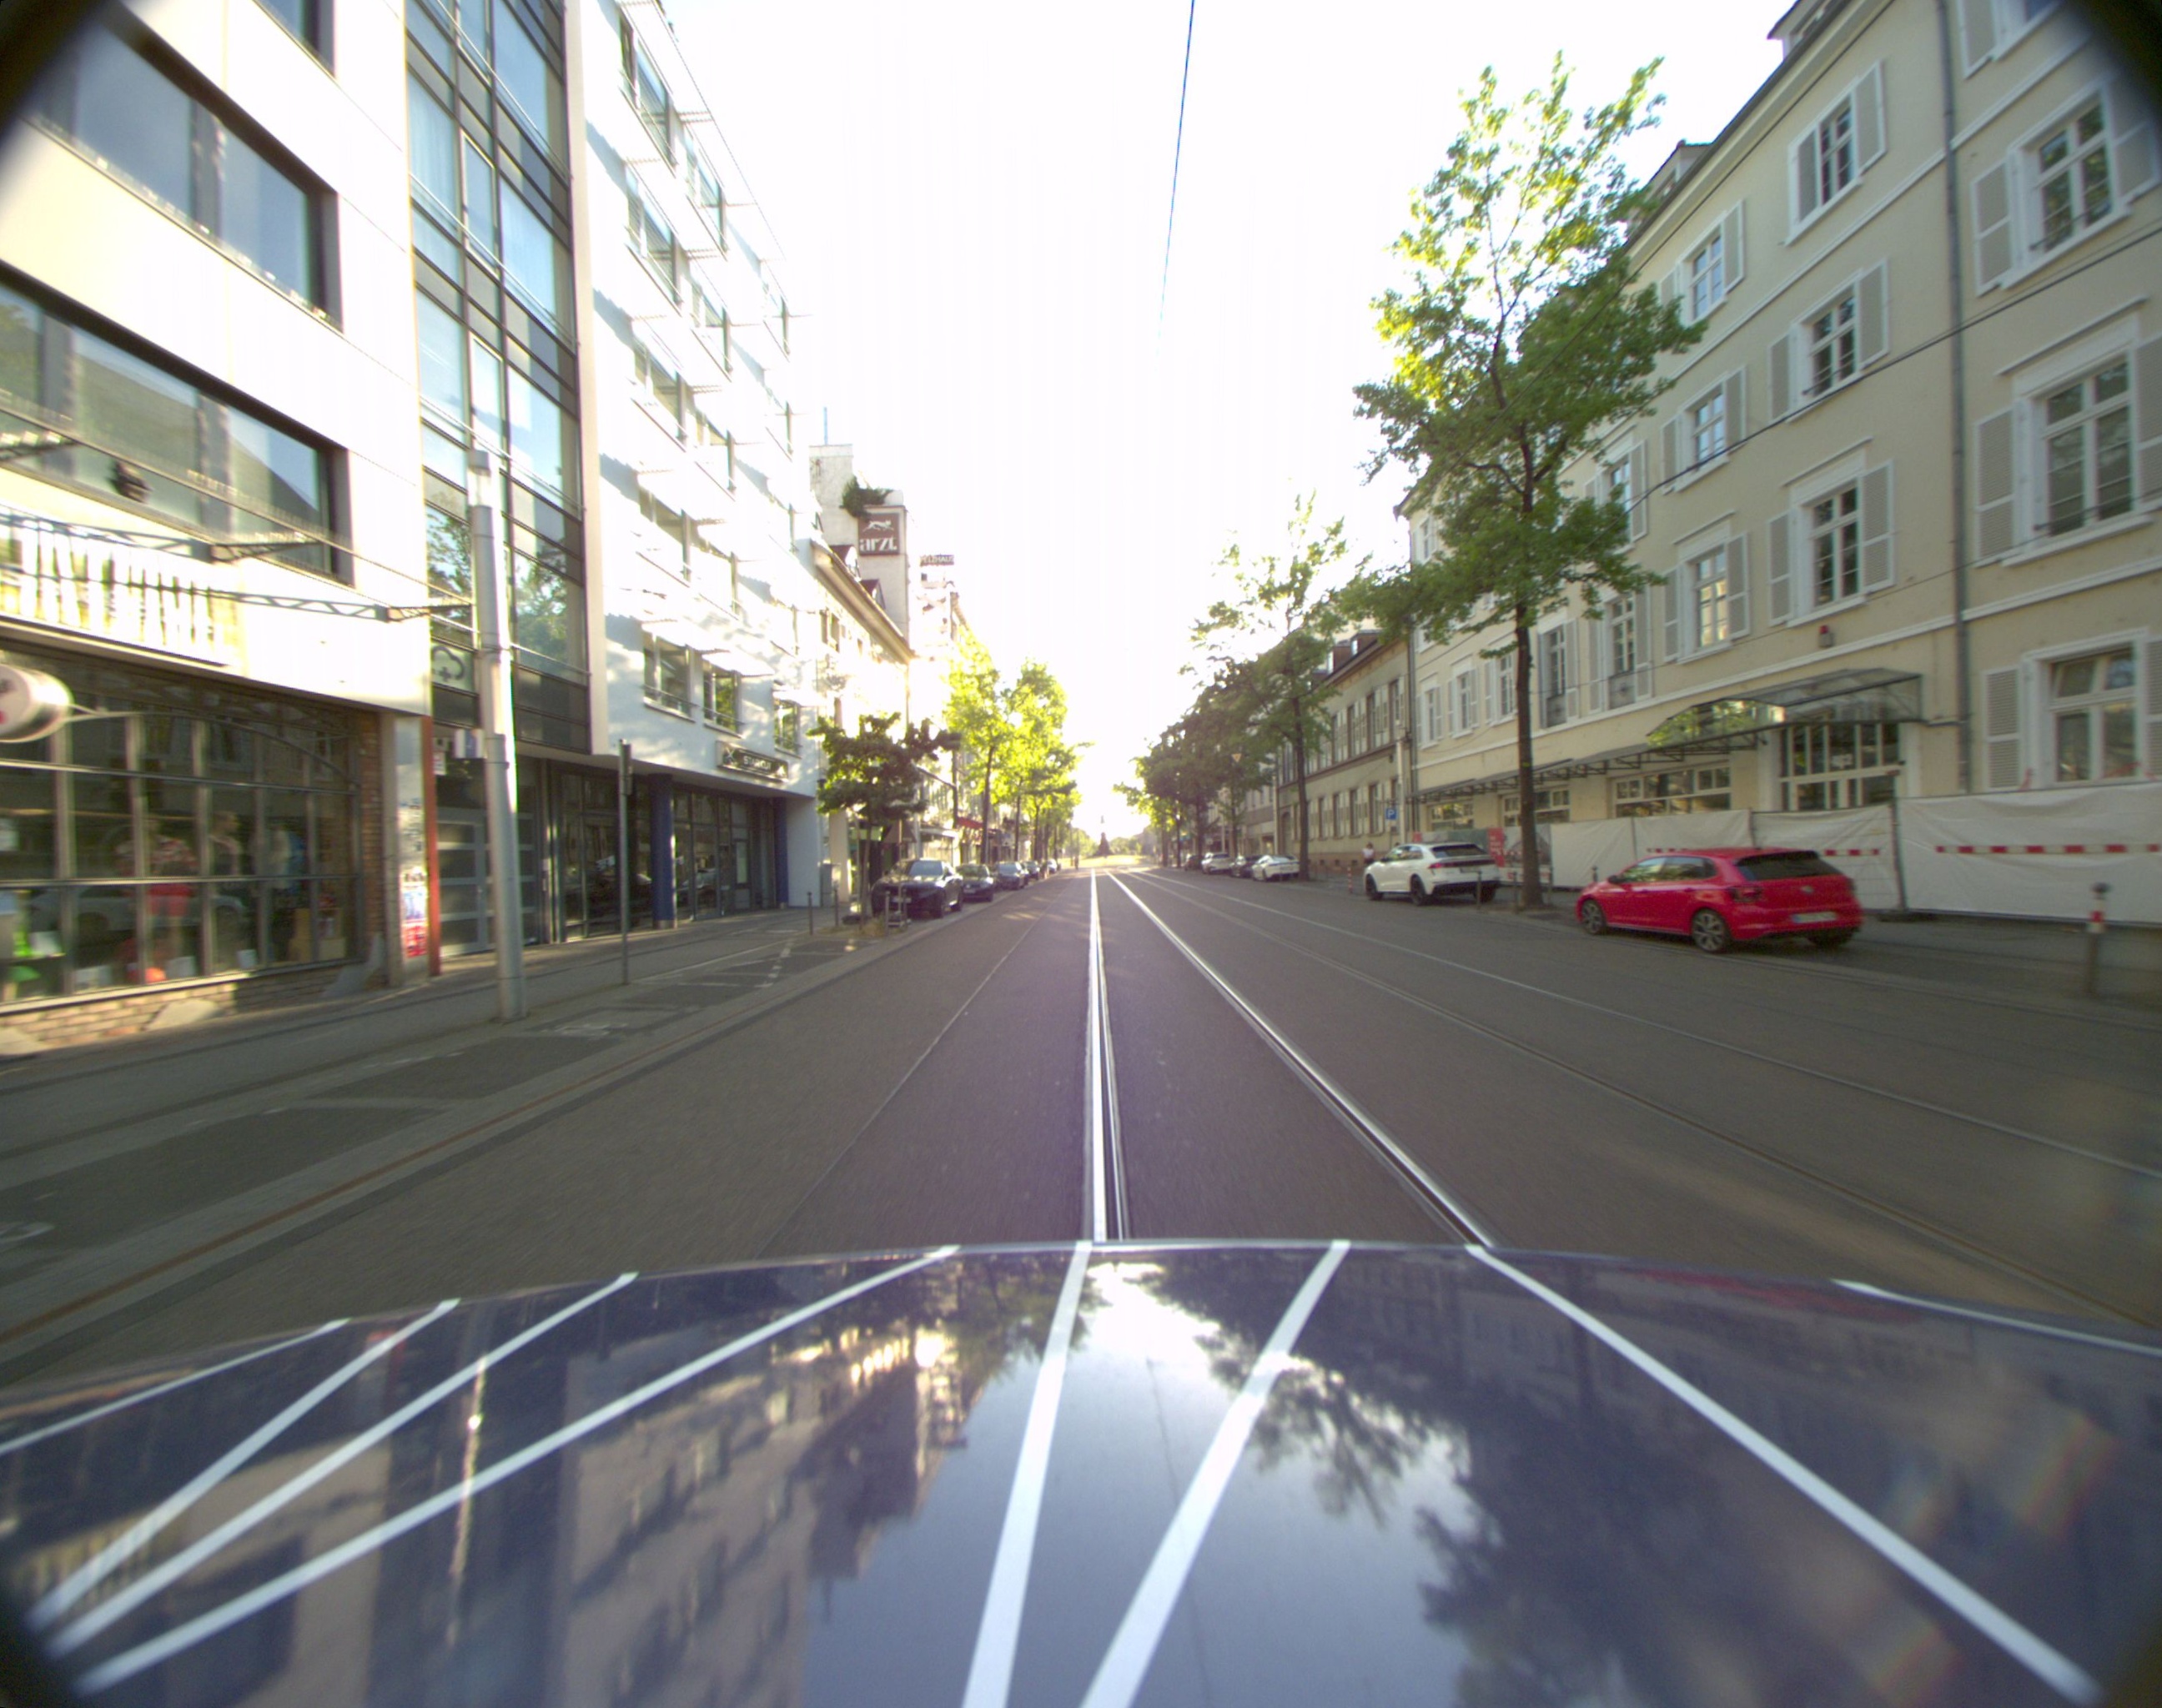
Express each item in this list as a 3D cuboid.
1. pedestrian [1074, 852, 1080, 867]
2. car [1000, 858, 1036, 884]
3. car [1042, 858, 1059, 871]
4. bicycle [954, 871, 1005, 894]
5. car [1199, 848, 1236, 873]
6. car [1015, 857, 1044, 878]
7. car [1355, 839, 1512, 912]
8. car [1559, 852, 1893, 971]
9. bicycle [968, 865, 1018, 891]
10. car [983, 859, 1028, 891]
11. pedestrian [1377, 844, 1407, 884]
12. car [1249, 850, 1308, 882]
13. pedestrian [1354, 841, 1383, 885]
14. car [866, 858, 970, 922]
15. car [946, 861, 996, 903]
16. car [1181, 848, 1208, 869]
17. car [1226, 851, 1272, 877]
[{"bbox_3d":[-0.464,0.721,99.200,0.705,1.858,0.792,-2,1,-1],"label":"pedestrian"},{"bbox_3d":[-4.032,1.064,49.040,1.869,1.502,4.287,1,0,1],"label":"car"},{"bbox_3d":[-3.311,1.100,81.906,1.564,1.391,3.698,1,0,1],"label":"car"},{"bbox_3d":[-4.742,1.342,35.509,2.249,0.982,0.615,-2,0,2],"label":"bicycle"},{"bbox_3d":[10.609,0.491,59.219,1.952,1.731,4.766,-4,0,1],"label":"car"},{"bbox_3d":[-3.894,1.015,57.706,1.798,1.502,3.986,1,0,1],"label":"car"},{"bbox_3d":[9.726,0.546,21.487,1.870,1.679,4.950,-4,0,-2],"label":"car"},{"bbox_3d":[9.527,0.728,11.760,1.664,1.397,4.141,-4,0,2],"label":"car"},{"bbox_3d":[-4.312,1.195,37.284,2.325,1.181,0.751,-2,0,2],"label":"bicycle"},{"bbox_3d":[-3.955,1.064,40.493,1.770,1.502,4.287,-2,0,2],"label":"car"},{"bbox_3d":[12.870,0.420,31.446,0.746,1.571,0.933,-4,0,1],"label":"pedestrian"},{"bbox_3d":[10.269,0.593,39.859,1.897,1.458,4.617,-5,0,2],"label":"car"},{"bbox_3d":[11.995,0.374,31.701,0.746,1.732,0.933,-4,1,2],"label":"pedestrian"},{"bbox_3d":[-4.757,0.982,22.924,1.985,1.678,4.874,1,0,1],"label":"car"},{"bbox_3d":[-4.403,1.070,30.773,1.871,1.502,4.242,1,0,-7],"label":"car"},{"bbox_3d":[11.060,0.462,74.090,1.931,1.946,4.766,-1,0,1],"label":"car"},{"bbox_3d":[10.482,0.616,47.622,1.745,1.458,4.342,-4,0,-2],"label":"car"}]
